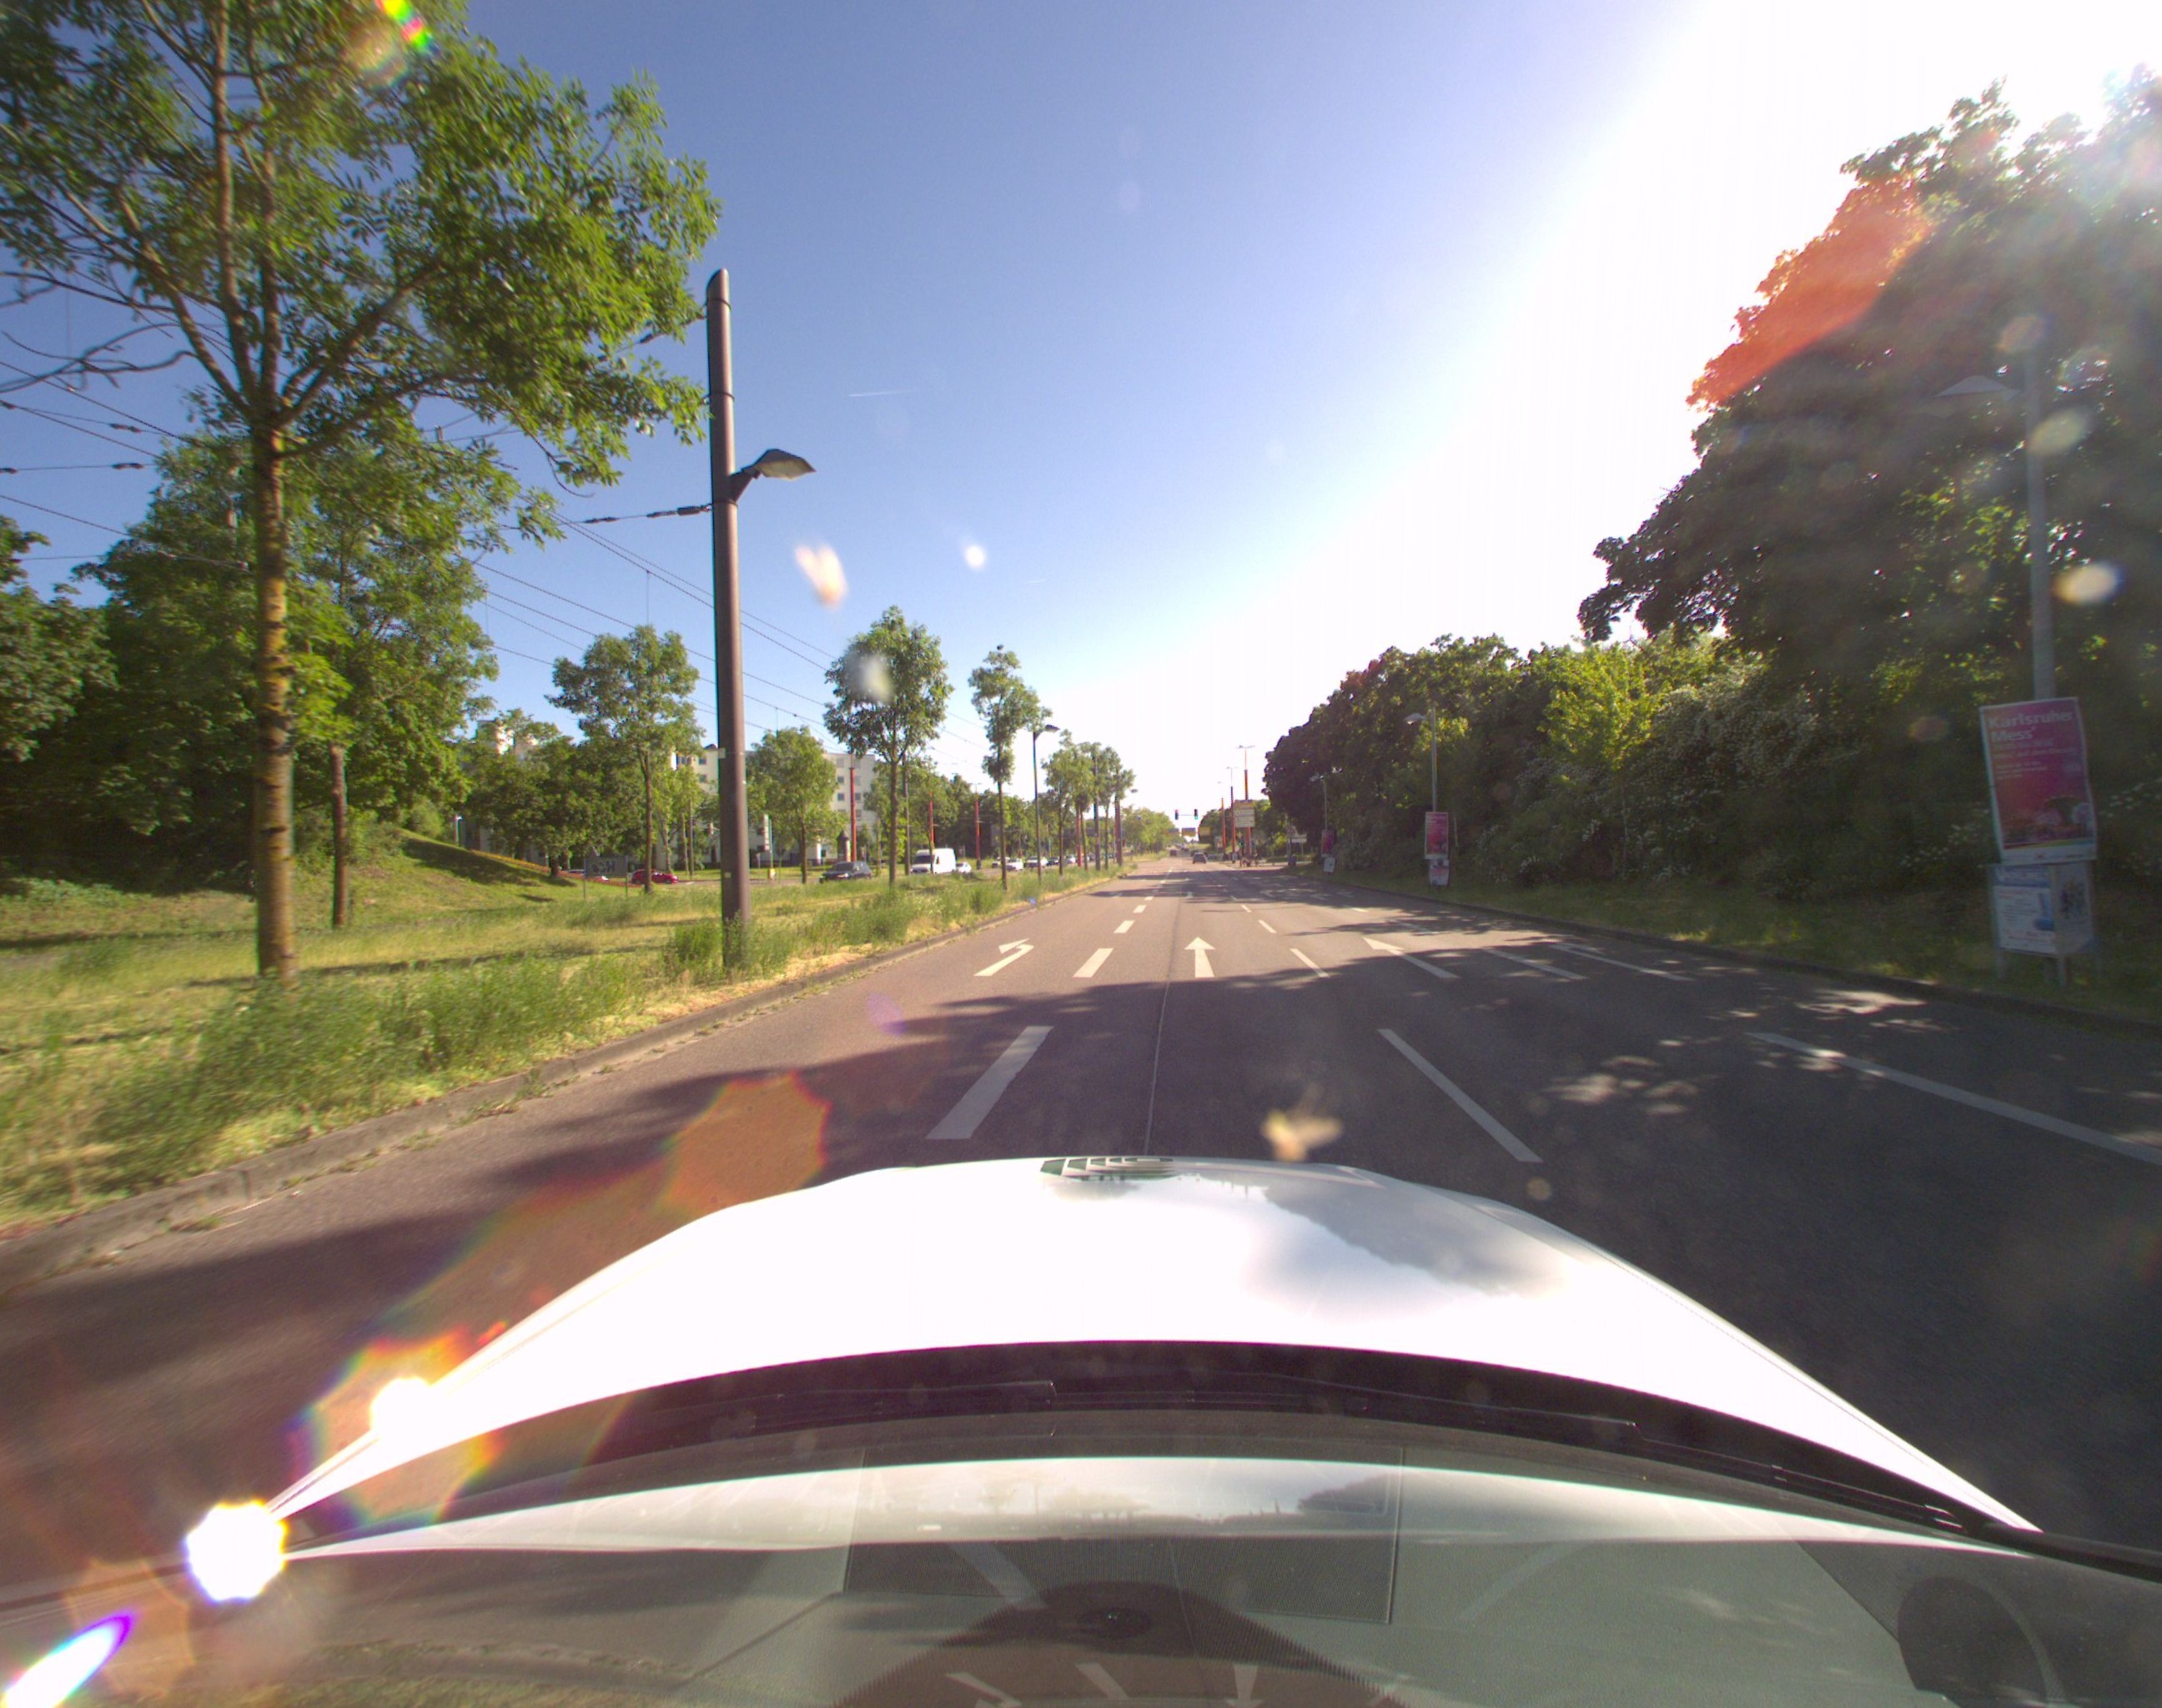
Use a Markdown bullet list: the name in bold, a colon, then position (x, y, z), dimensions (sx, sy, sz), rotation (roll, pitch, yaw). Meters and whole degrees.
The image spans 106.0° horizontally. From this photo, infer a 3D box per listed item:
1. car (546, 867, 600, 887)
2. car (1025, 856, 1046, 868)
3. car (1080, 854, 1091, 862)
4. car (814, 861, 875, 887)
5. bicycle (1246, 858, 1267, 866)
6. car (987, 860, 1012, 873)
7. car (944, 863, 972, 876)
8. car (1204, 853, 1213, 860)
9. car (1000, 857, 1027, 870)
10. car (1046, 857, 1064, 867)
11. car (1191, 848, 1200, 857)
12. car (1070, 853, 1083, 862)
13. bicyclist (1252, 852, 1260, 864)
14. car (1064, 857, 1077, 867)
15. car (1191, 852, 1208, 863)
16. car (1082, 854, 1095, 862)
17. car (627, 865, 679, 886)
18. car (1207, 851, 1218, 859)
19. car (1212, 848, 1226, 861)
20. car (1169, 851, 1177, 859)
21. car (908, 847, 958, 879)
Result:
- **car**: position (-47.145, 2.086, 75.624), dimensions (4.005, 1.750, 1.897), rotation (-1, 0, -24)
- **car**: position (-6.092, 1.067, 109.597), dimensions (1.883, 1.621, 4.669), rotation (-1, 0, 10)
- **car**: position (0.950, 0.828, 161.270), dimensions (1.695, 1.423, 4.652), rotation (-2, -1, 7)
- **car**: position (-15.832, 1.297, 54.811), dimensions (1.983, 1.584, 5.283), rotation (-1, 0, 7)
- **bicycle**: position (19.149, 0.863, 88.847), dimensions (2.158, 0.878, 0.559), rotation (-1, 0, -5)
- **car**: position (-13.103, 1.985, 130.676), dimensions (1.975, 2.013, 4.433), rotation (-2, 0, 25)
- **car**: position (-12.841, 1.562, 84.931), dimensions (1.788, 1.293, 4.009), rotation (-1, 0, 8)
- **car**: position (29.771, 0.495, 190.217), dimensions (1.983, 1.540, 4.008), rotation (-1, 0, 7)
- **car**: position (-7.946, 1.126, 96.346), dimensions (1.886, 1.398, 4.560), rotation (-1, 0, 14)
- **car**: position (-4.010, 1.200, 125.896), dimensions (1.982, 1.409, 5.002), rotation (-1, 0, 8)
- **car**: position (29.179, -0.412, 206.804), dimensions (2.143, 2.013, 4.008), rotation (-2, 0, 7)
- **car**: position (-0.815, 0.601, 151.681), dimensions (1.580, 1.472, 4.192), rotation (-3, 0, 8)
- **bicyclist**: position (19.108, 0.455, 88.840), dimensions (0.738, 1.341, 0.707), rotation (-1, 0, -3)
- **car**: position (-1.806, 1.313, 140.144), dimensions (1.753, 1.608, 3.766), rotation (-2, -1, 8)
- **car**: position (16.247, 0.472, 111.792), dimensions (1.985, 1.496, 4.004), rotation (-1, 0, 4)
- **car**: position (1.650, 0.863, 169.968), dimensions (1.982, 1.594, 4.475), rotation (-2, 0, 9)
- **car**: position (-40.760, 2.007, 77.711), dimensions (4.281, 1.901, 1.984), rotation (-1, 0, -24)
- **car**: position (24.734, 0.171, 153.145), dimensions (1.983, 1.540, 4.008), rotation (-1, 0, 7)
- **car**: position (22.077, 0.078, 130.019), dimensions (1.983, 1.887, 4.008), rotation (-1, 0, 7)
- **car**: position (24.295, 0.180, 215.825), dimensions (1.984, 2.014, 4.006), rotation (-1, 0, 5)
- **car**: position (-11.810, 0.696, 65.638), dimensions (2.029, 2.369, 6.893), rotation (-1, 0, 7)
